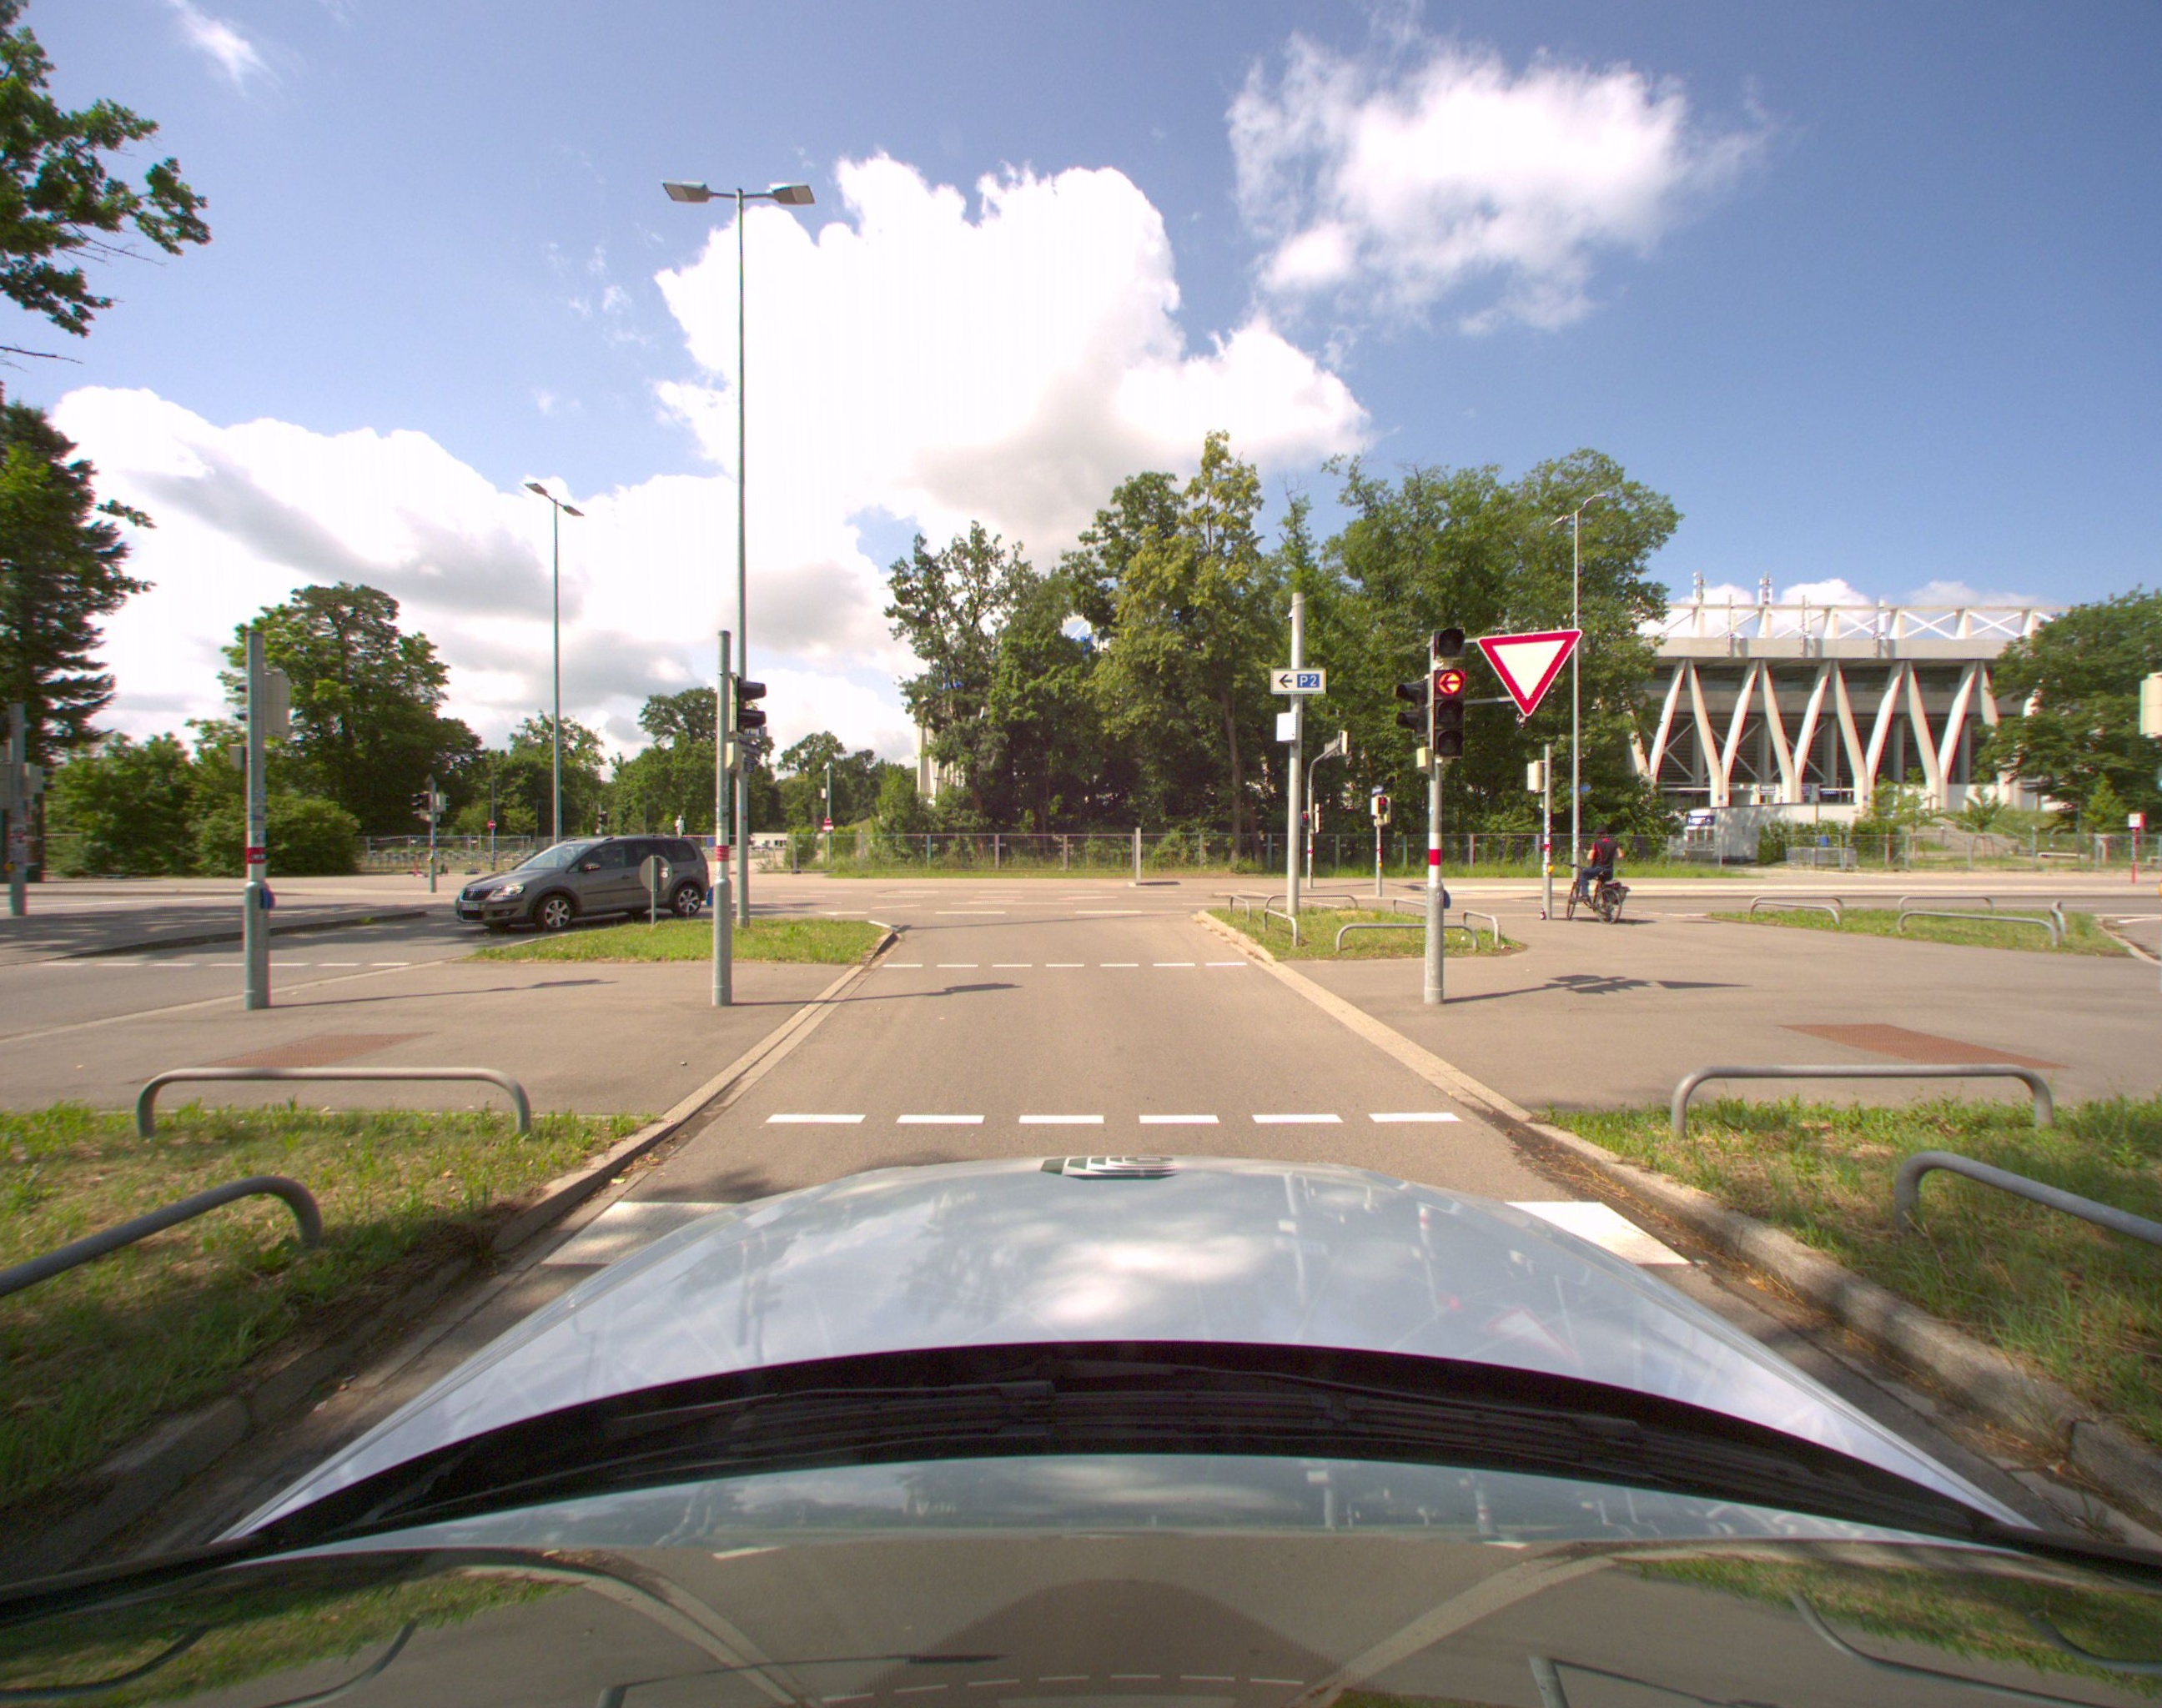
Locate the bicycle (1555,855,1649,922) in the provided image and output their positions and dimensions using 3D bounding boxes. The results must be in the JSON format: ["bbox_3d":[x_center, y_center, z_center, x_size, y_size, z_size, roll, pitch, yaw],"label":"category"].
[{"bbox_3d":[9.965,0.638,15.670,0.875,1.206,1.903,-1,-1,11],"label":"bicycle"}]

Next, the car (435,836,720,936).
[{"bbox_3d":[-9.337,0.484,15.542,1.745,1.629,4.325,0,1,27],"label":"car"}]

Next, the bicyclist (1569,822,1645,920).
[{"bbox_3d":[9.922,0.313,15.397,0.879,1.798,0.981,-1,-1,10],"label":"bicyclist"}]

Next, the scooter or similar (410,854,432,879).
[{"bbox_3d":[-32.246,0.592,39.779,1.295,1.200,0.410,0,1,32],"label":"scooter or similar"}]
